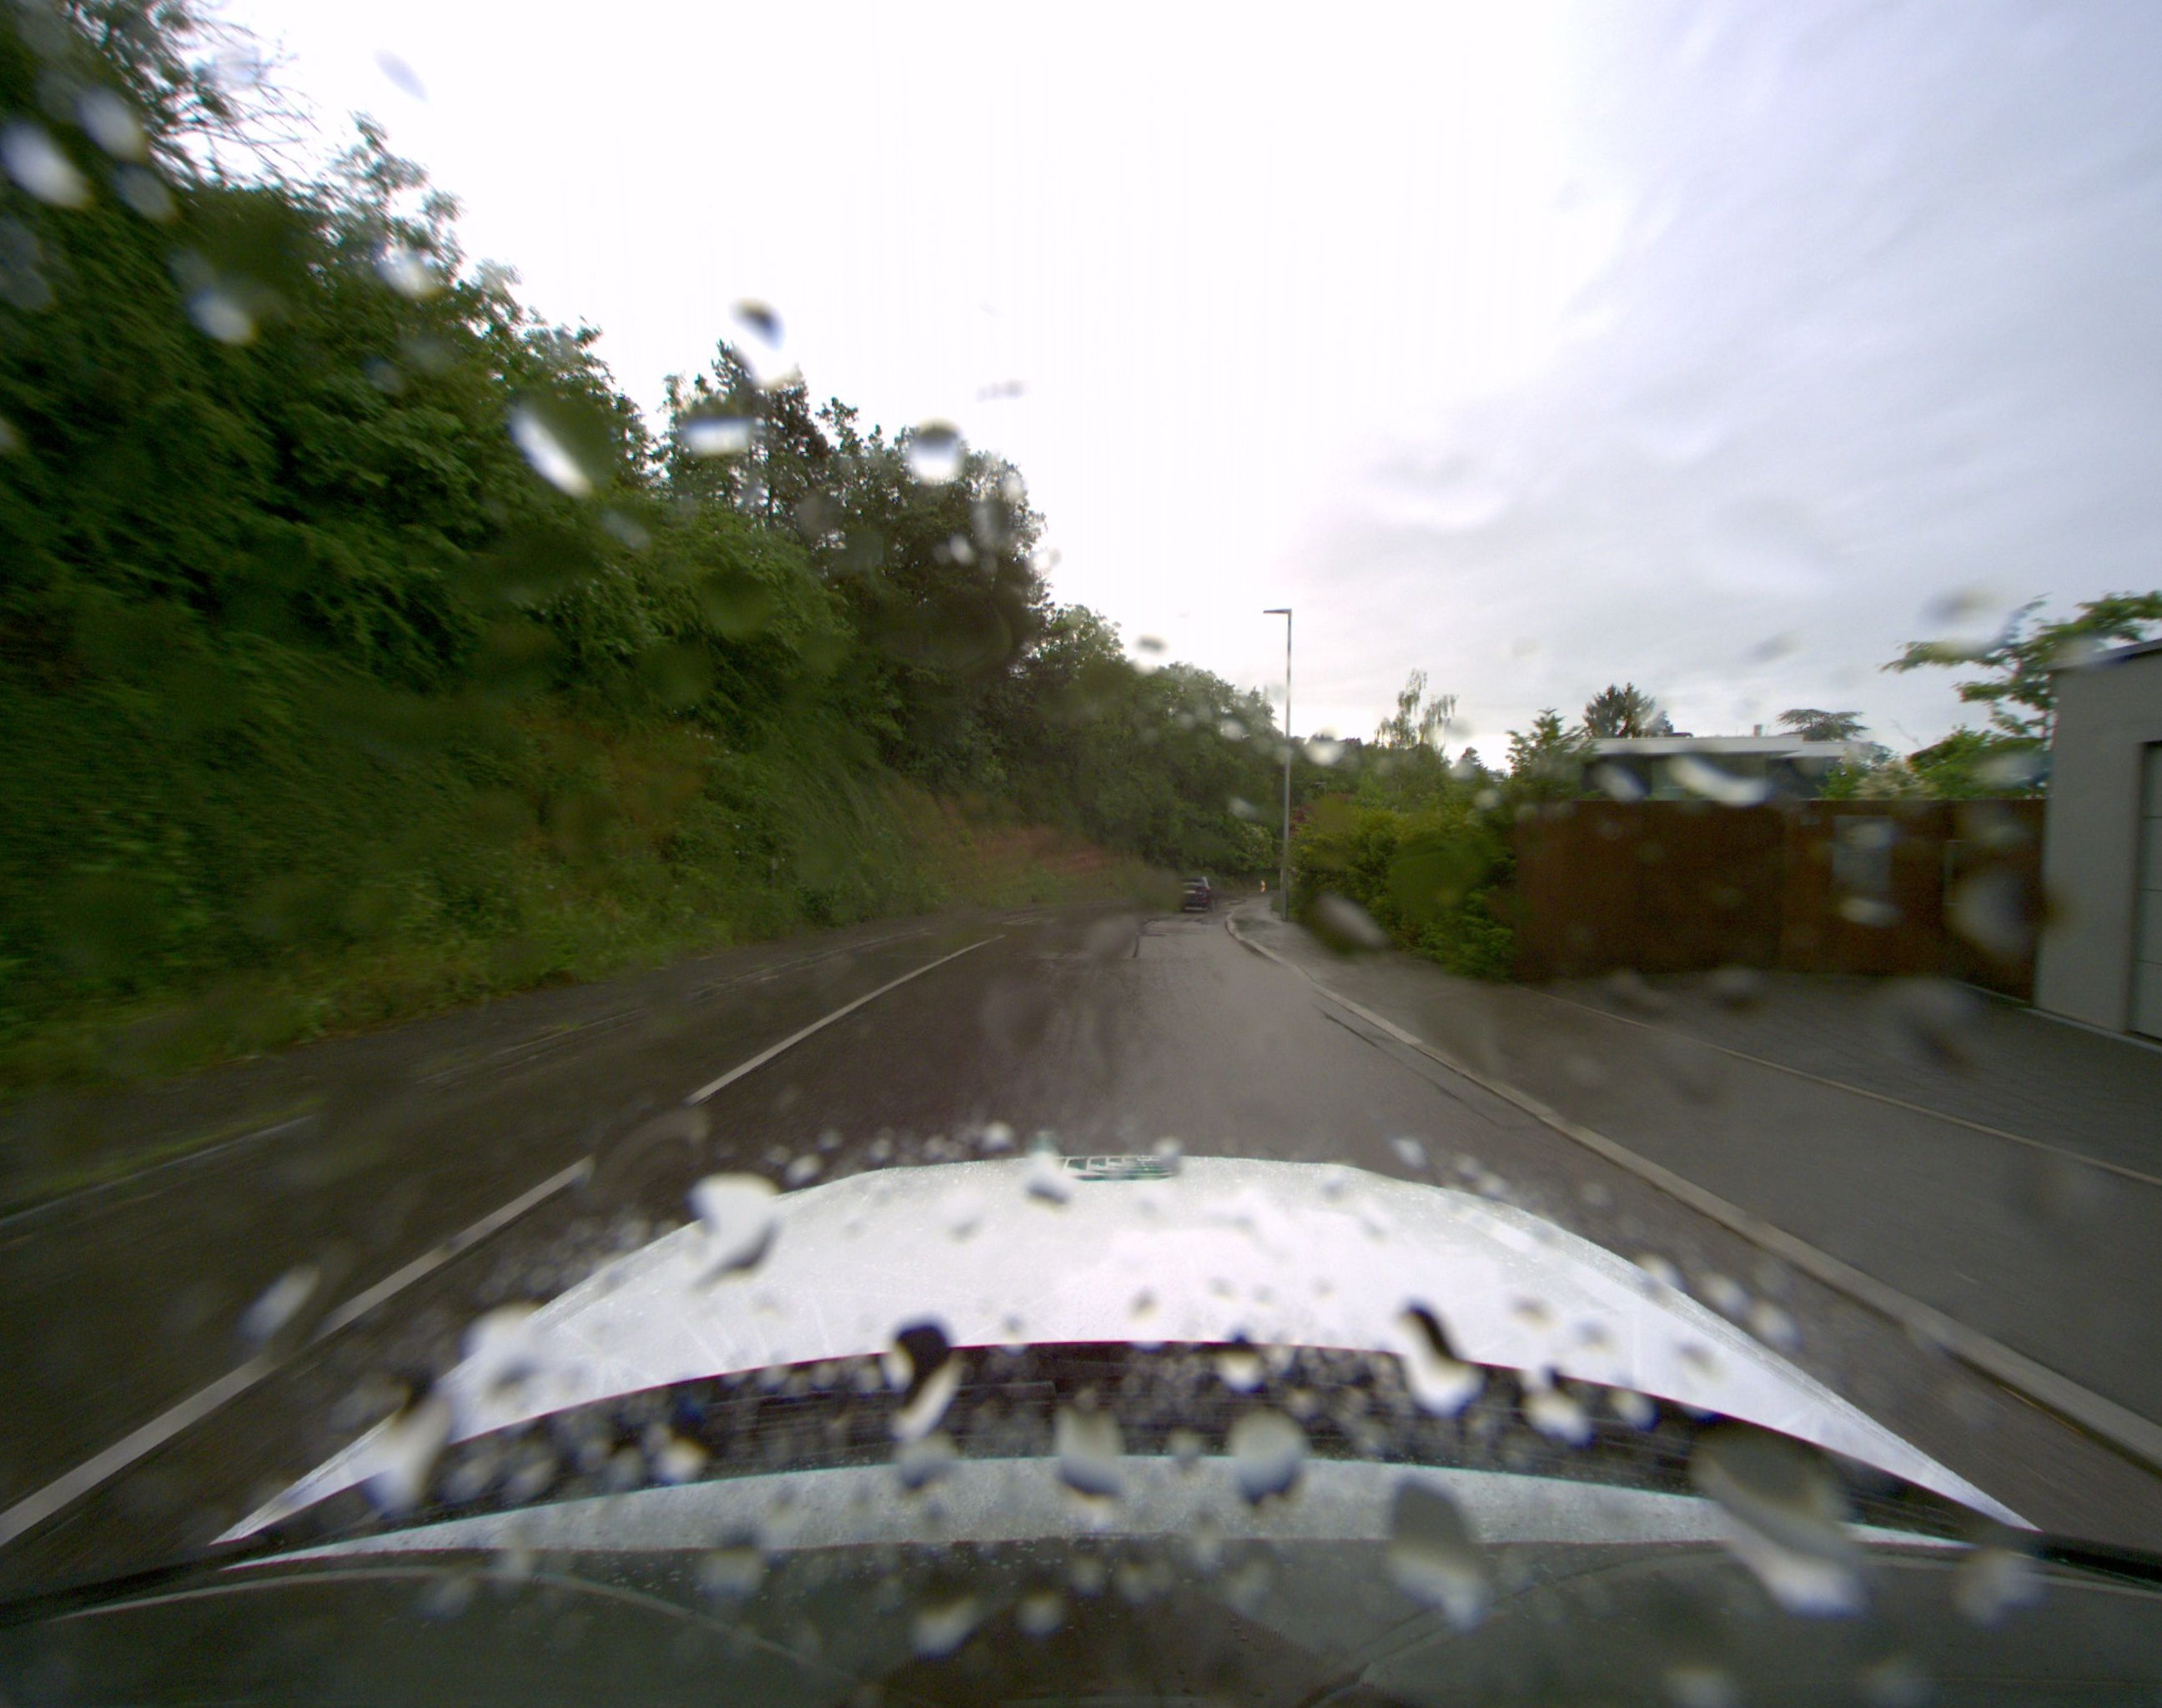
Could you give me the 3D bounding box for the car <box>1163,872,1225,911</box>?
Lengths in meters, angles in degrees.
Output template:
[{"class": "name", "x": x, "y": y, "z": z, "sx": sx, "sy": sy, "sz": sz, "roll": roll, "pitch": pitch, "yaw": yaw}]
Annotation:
[{"class": "car", "x": 4.820, "y": 1.537, "z": 34.205, "sx": 1.853, "sy": 1.512, "sz": 4.111, "roll": 0, "pitch": -2, "yaw": 18}]
